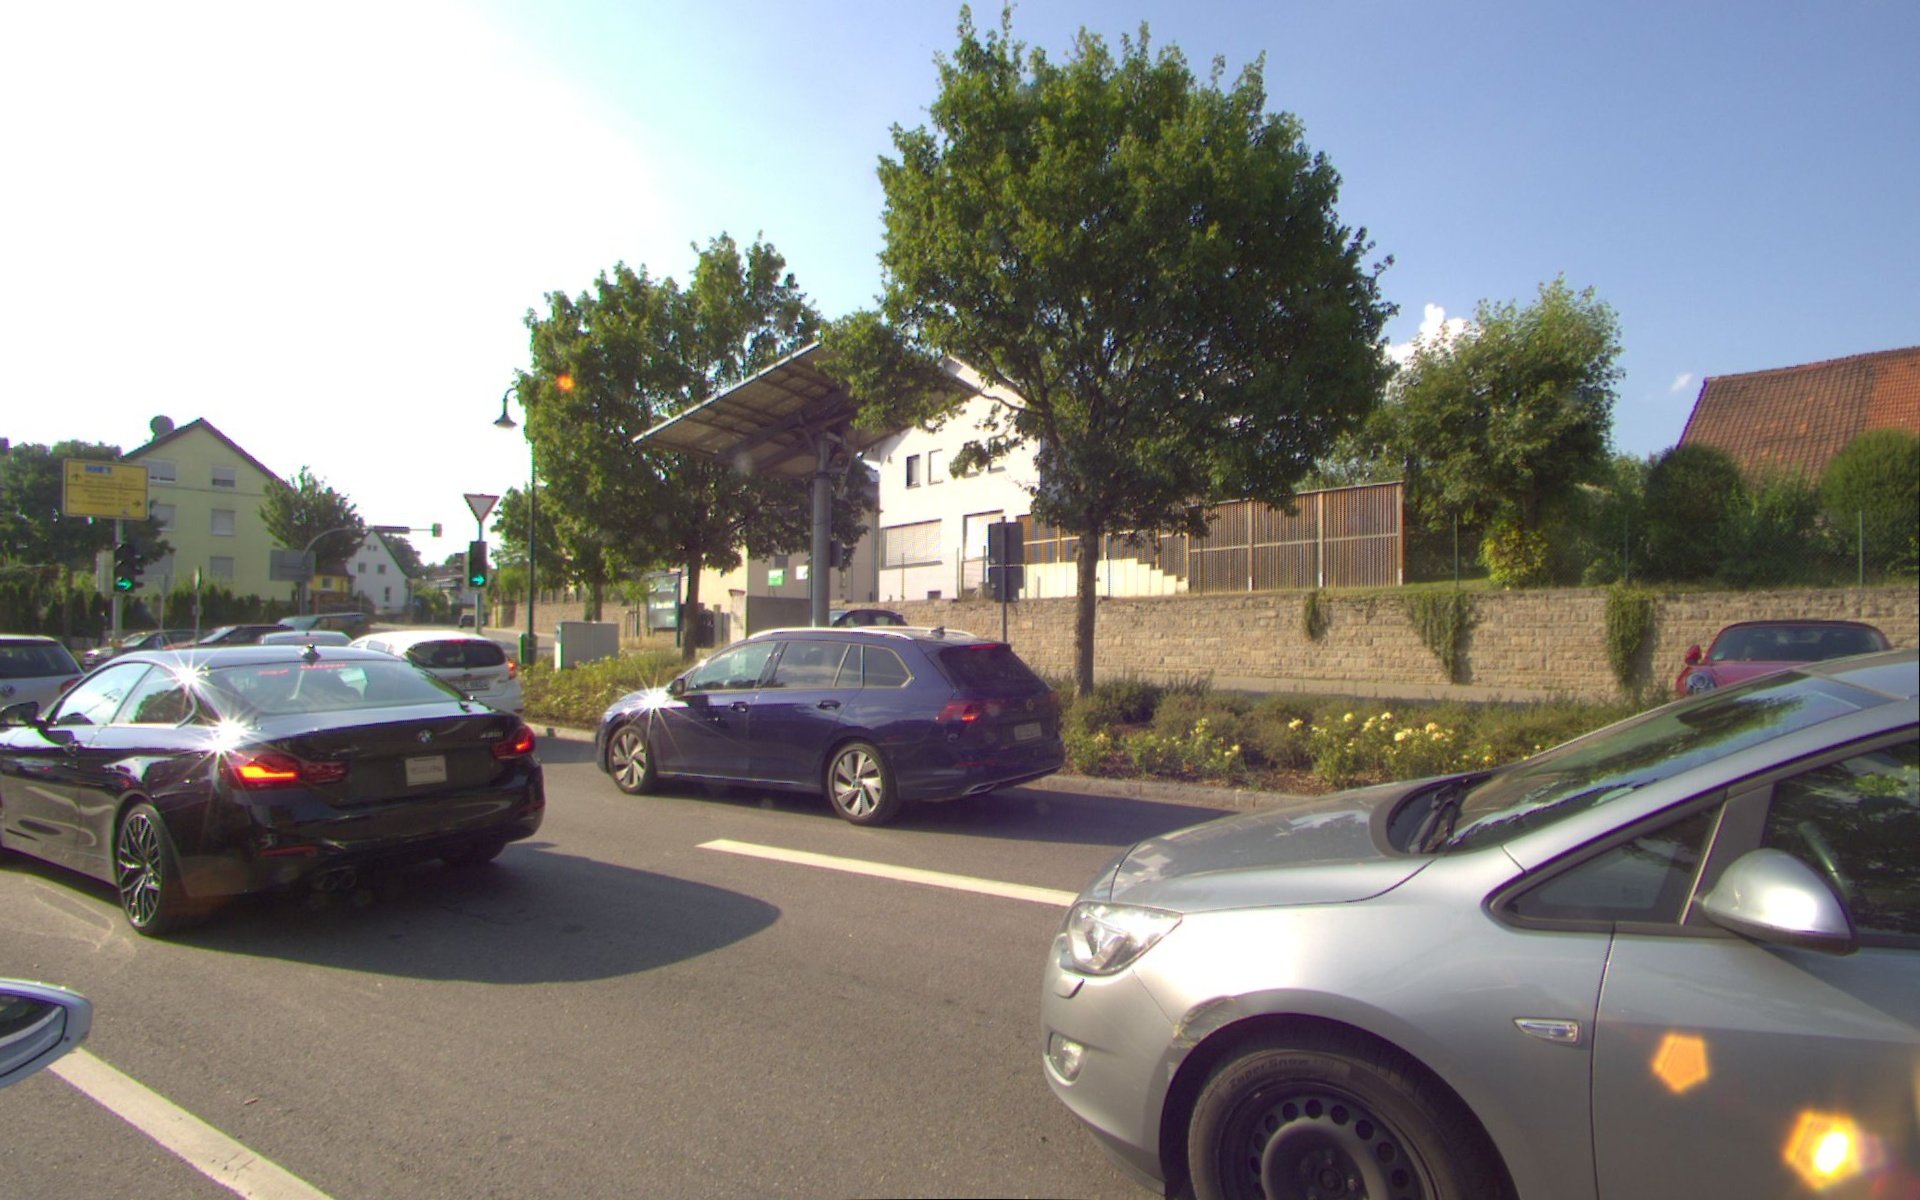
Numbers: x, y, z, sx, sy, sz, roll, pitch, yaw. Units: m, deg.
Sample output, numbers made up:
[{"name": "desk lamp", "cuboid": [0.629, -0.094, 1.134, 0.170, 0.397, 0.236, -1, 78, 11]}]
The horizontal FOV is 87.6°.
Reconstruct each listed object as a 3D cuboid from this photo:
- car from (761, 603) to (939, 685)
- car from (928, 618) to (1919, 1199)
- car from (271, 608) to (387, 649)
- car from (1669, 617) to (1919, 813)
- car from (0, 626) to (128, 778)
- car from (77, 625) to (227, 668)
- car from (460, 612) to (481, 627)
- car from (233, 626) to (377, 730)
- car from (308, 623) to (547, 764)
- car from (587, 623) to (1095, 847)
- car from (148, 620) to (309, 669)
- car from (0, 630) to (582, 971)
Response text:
[{"name": "car", "cuboid": [-2.366, 0.964, 22.305, 1.758, 1.653, 3.800, -1, -2, 40]}, {"name": "car", "cuboid": [2.186, 0.787, 2.169, 4.256, 1.472, 1.758, -1, 0, 31]}, {"name": "car", "cuboid": [-28.159, 1.292, 44.920, 1.812, 1.761, 4.786, 0, -2, 6]}, {"name": "car", "cuboid": [8.237, 0.956, 9.753, 1.758, 1.510, 4.120, -1, -2, 41]}, {"name": "car", "cuboid": [-10.794, 1.016, 10.786, 3.848, 1.444, 1.758, -1, 0, 33]}, {"name": "car", "cuboid": [-30.062, 1.721, 37.370, 1.821, 1.508, 3.983, -1, -2, 30]}, {"name": "car", "cuboid": [-56.676, 2.300, 115.907, 1.939, 1.701, 4.202, 0, -1, -23]}, {"name": "car", "cuboid": [-11.742, 1.275, 17.821, 1.643, 1.562, 4.362, -1, 0, -40]}, {"name": "car", "cuboid": [-6.906, 1.085, 12.895, 3.278, 1.562, 1.611, -1, 0, 40]}, {"name": "car", "cuboid": [-1.148, 0.952, 8.643, 4.259, 1.472, 1.757, -1, 0, 34]}, {"name": "car", "cuboid": [-26.476, 1.601, 36.416, 1.818, 1.662, 4.418, 0, -2, 25]}, {"name": "car", "cuboid": [-4.423, 0.918, 6.194, 4.220, 1.416, 1.758, -1, 0, 33]}]
